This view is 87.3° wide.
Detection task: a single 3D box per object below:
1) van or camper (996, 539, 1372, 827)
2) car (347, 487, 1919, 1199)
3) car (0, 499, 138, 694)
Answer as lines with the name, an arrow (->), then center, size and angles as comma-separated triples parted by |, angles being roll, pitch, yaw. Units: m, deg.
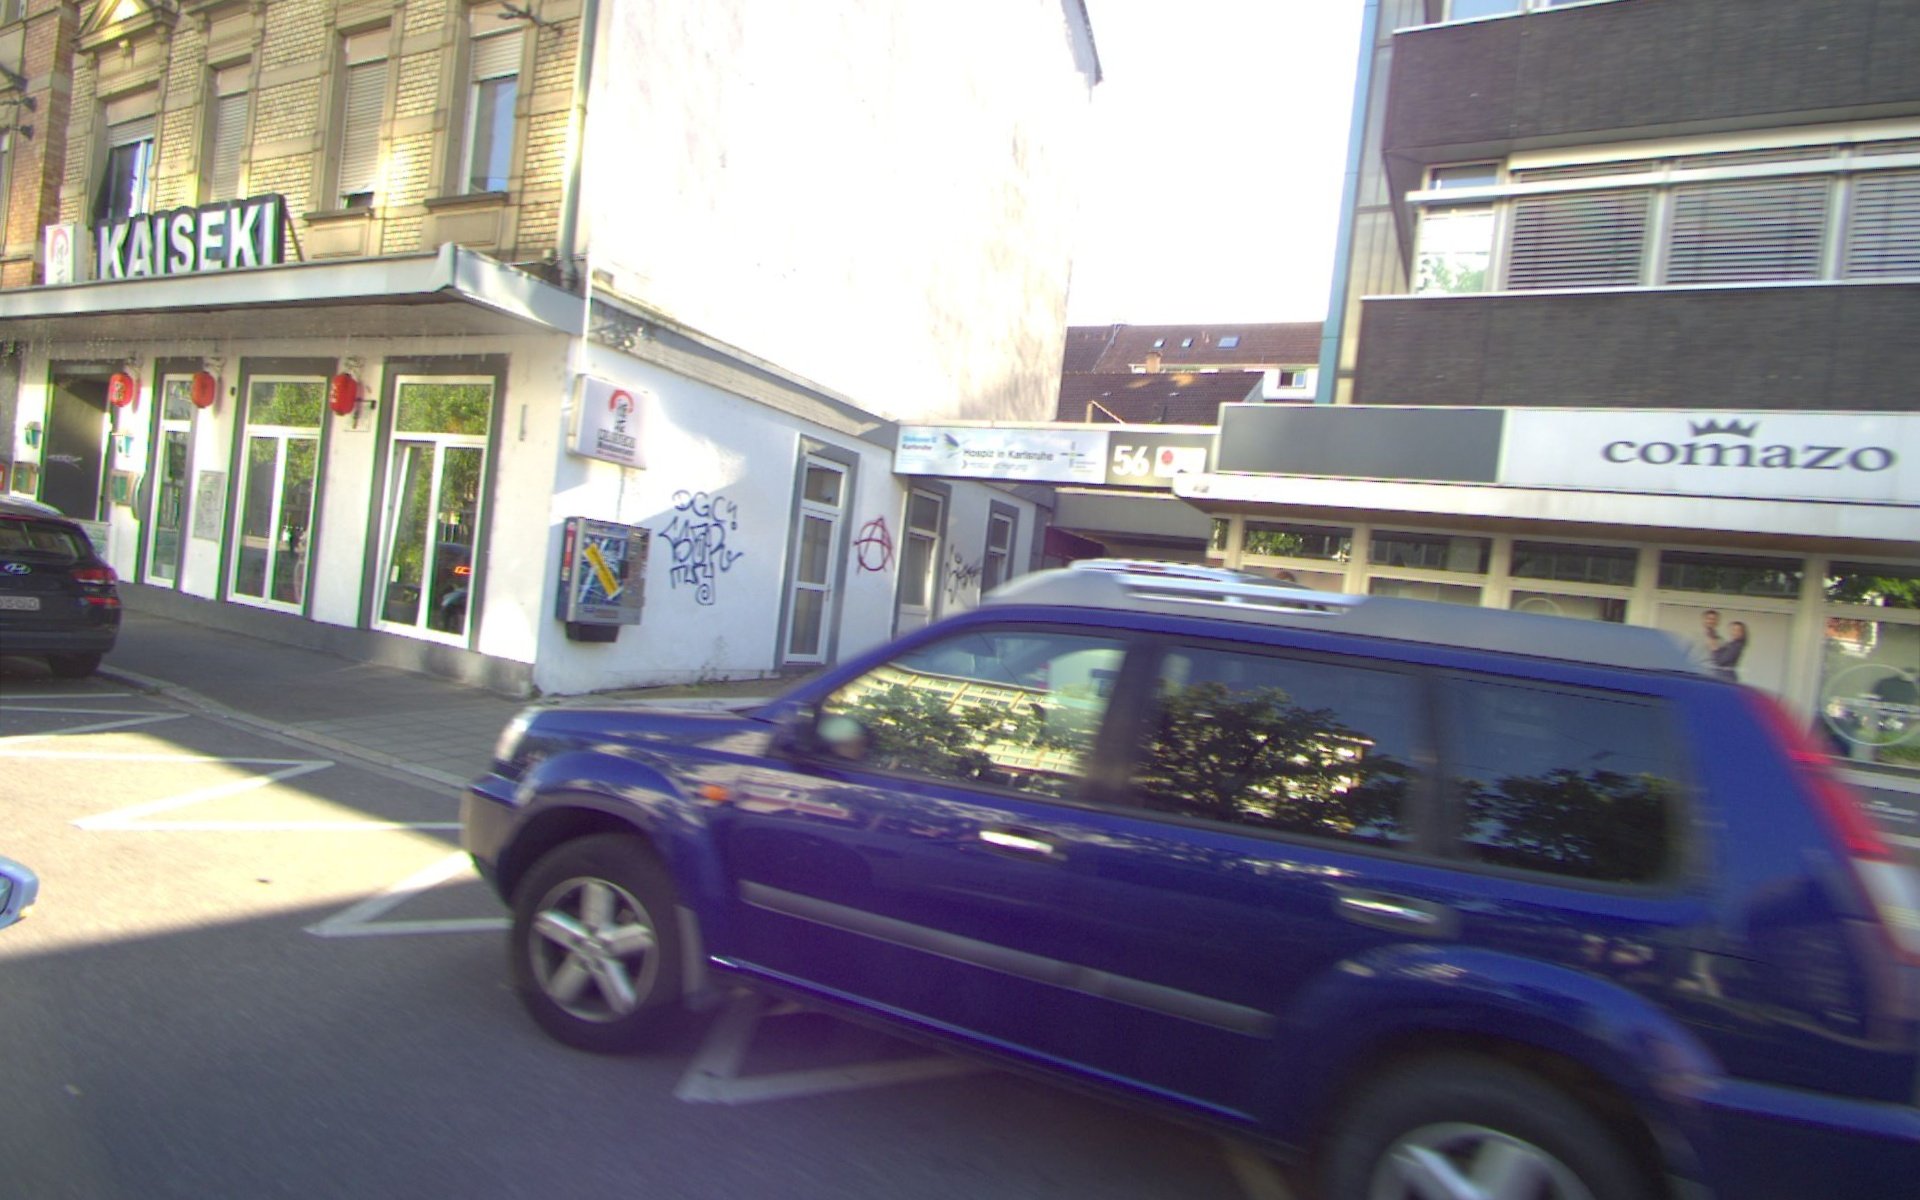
van or camper -> 2.440, 0.618, 9.776 | 1.967, 1.959, 4.691 | 7, 3, 32
car -> 0.380, 0.779, 3.448 | 4.530, 1.733, 1.696 | 7, -1, 21
car -> -9.139, -0.250, 8.557 | 4.284, 1.468, 1.694 | 7, -1, 28
